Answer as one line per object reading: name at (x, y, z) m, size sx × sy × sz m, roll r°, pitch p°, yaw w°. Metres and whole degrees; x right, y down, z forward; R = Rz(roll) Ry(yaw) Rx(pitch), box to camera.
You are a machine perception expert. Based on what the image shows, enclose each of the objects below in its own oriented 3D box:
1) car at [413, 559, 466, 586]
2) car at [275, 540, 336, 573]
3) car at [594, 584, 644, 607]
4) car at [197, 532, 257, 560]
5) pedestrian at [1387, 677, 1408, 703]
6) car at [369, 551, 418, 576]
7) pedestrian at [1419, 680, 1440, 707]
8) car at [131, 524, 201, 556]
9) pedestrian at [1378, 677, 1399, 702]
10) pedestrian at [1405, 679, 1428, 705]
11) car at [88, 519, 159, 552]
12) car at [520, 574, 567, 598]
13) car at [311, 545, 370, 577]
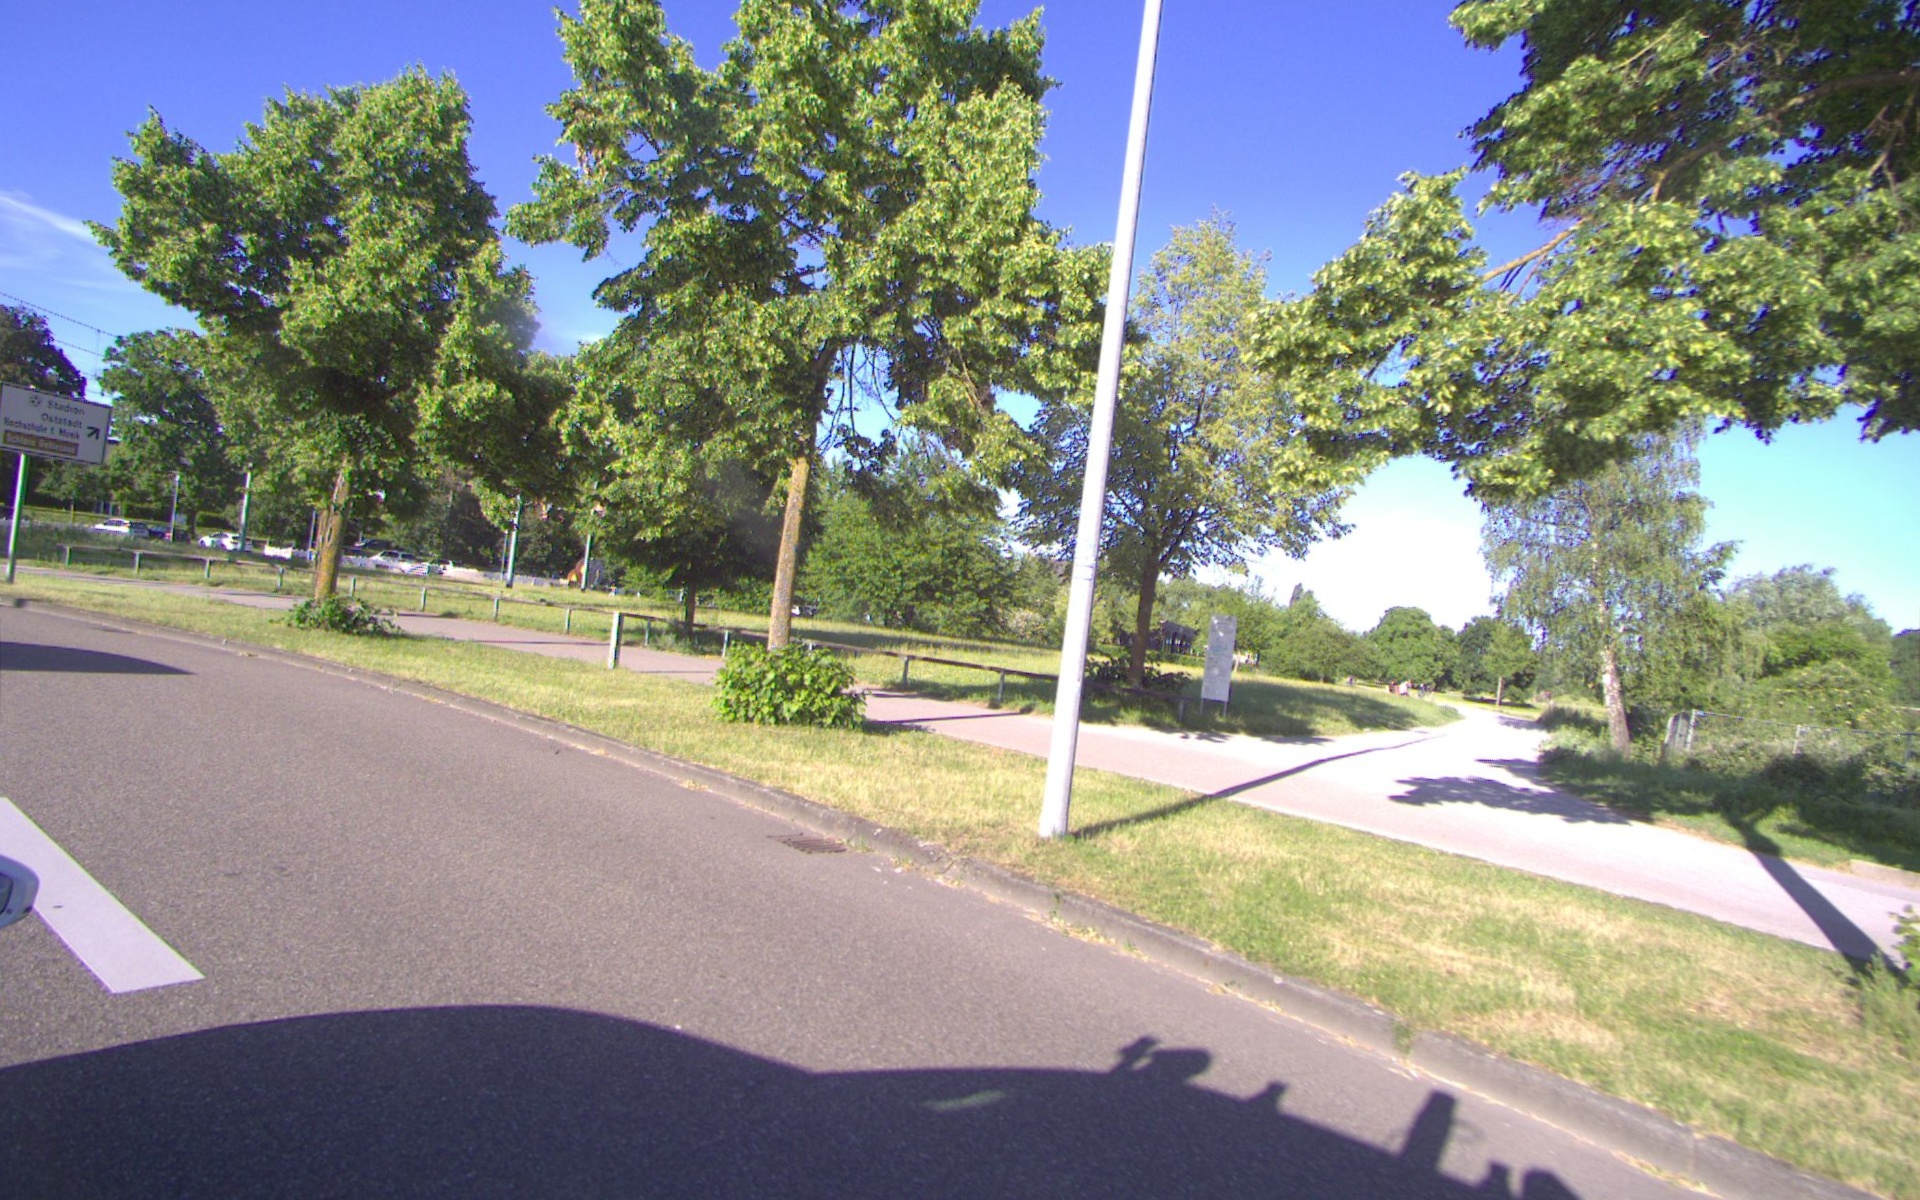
car at (-46.549, -2.472, 89.998) m, size 3.928 × 1.981 × 2.001 m, roll 5°, pitch -3°, yaw 23°
car at (-50.997, -3.419, 78.363) m, size 3.928 × 2.123 × 2.001 m, roll 5°, pitch -3°, yaw 23°
car at (-32.165, -0.419, 94.901) m, size 3.928 × 1.776 × 2.001 m, roll 4°, pitch -3°, yaw 23°
car at (-53.352, -3.933, 73.236) m, size 3.739 × 1.574 × 1.833 m, roll 4°, pitch -3°, yaw 25°
pedestrian at (26.986, 5.566, 62.040) m, size 0.784 × 1.457 × 0.684 m, roll 7°, pitch 0°, yaw -21°
car at (-48.201, -3.115, 85.595) m, size 3.780 × 1.799 × 1.694 m, roll 4°, pitch -3°, yaw 27°
pedestrian at (27.940, 5.544, 59.886) m, size 0.784 × 1.457 × 0.658 m, roll 7°, pitch 0°, yaw -21°
car at (-54.825, -4.138, 69.487) m, size 3.928 × 1.788 × 2.001 m, roll 4°, pitch -3°, yaw 23°
pedestrian at (26.955, 5.631, 63.273) m, size 0.784 × 1.457 × 0.684 m, roll 7°, pitch 0°, yaw -21°
pedestrian at (27.756, 5.598, 61.192) m, size 0.784 × 1.457 × 0.770 m, roll 7°, pitch 0°, yaw -21°
car at (-56.179, -4.351, 67.552) m, size 3.928 × 1.743 × 2.001 m, roll 4°, pitch -3°, yaw 23°
car at (-41.860, -1.398, 101.161) m, size 3.928 × 1.917 × 2.001 m, roll 5°, pitch -3°, yaw 23°
car at (-49.927, -3.160, 81.094) m, size 3.928 × 2.123 × 2.001 m, roll 5°, pitch -3°, yaw 23°
